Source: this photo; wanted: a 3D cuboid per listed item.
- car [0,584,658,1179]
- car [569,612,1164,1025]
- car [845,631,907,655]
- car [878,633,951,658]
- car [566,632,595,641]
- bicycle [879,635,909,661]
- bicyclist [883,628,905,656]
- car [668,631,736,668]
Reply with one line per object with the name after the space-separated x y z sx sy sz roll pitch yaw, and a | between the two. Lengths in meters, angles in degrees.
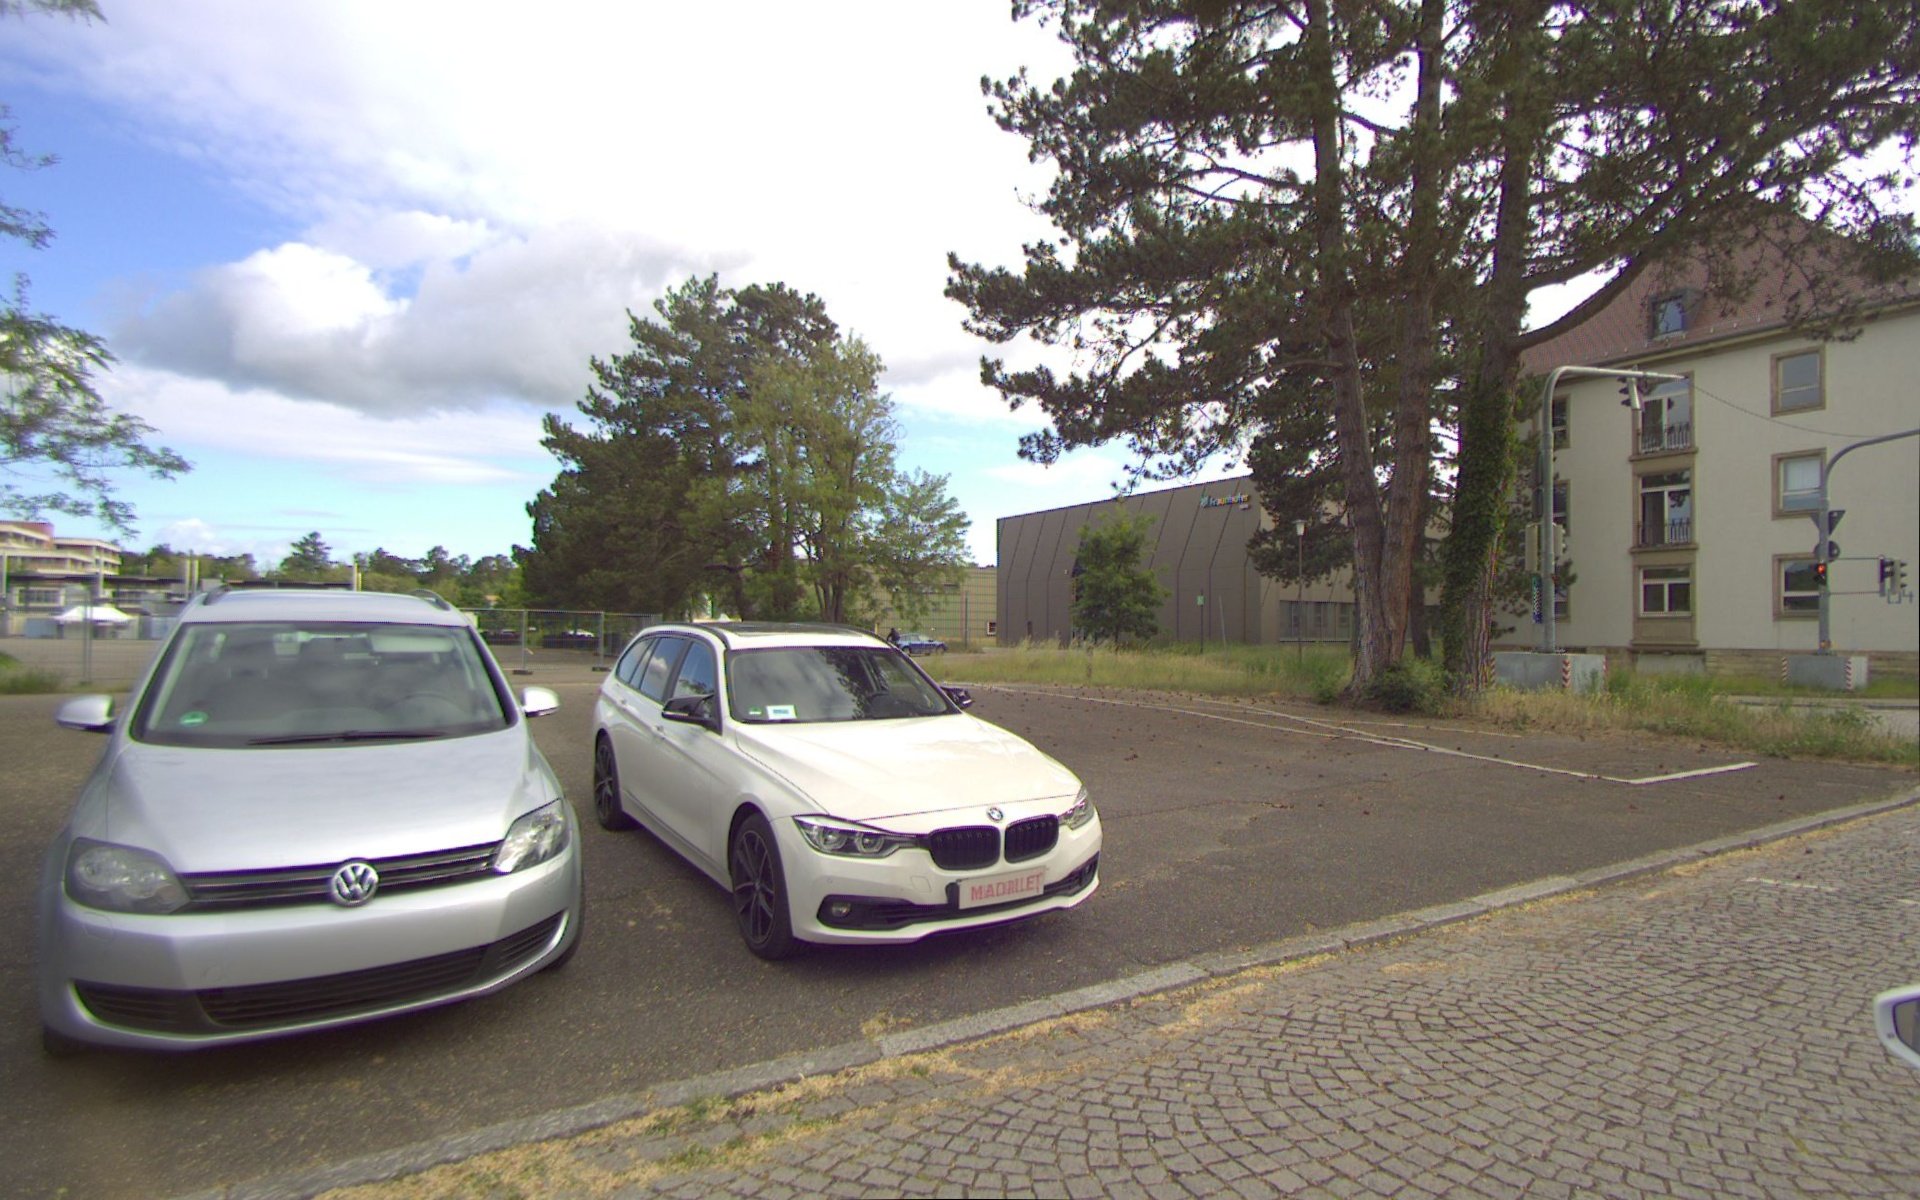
-3.162 0.767 5.016 1.855 1.619 4.332 1 0 -36 | car
-1.038 0.877 6.378 1.846 1.508 4.712 0 0 -32 | car
-6.054 3.102 72.482 4.077 1.593 1.749 -1 -1 -34 | car
-2.945 2.965 65.722 4.447 1.482 1.917 -1 -1 -34 | car
-63.414 6.141 167.988 4.284 1.569 1.985 1 -2 -30 | car
-3.757 2.694 56.747 0.817 1.395 2.025 2 -1 -32 | bicycle
-3.724 2.360 56.722 0.890 1.562 0.860 2 -1 -32 | bicyclist
-11.217 2.100 43.567 1.716 1.451 4.126 2 -1 -31 | car
